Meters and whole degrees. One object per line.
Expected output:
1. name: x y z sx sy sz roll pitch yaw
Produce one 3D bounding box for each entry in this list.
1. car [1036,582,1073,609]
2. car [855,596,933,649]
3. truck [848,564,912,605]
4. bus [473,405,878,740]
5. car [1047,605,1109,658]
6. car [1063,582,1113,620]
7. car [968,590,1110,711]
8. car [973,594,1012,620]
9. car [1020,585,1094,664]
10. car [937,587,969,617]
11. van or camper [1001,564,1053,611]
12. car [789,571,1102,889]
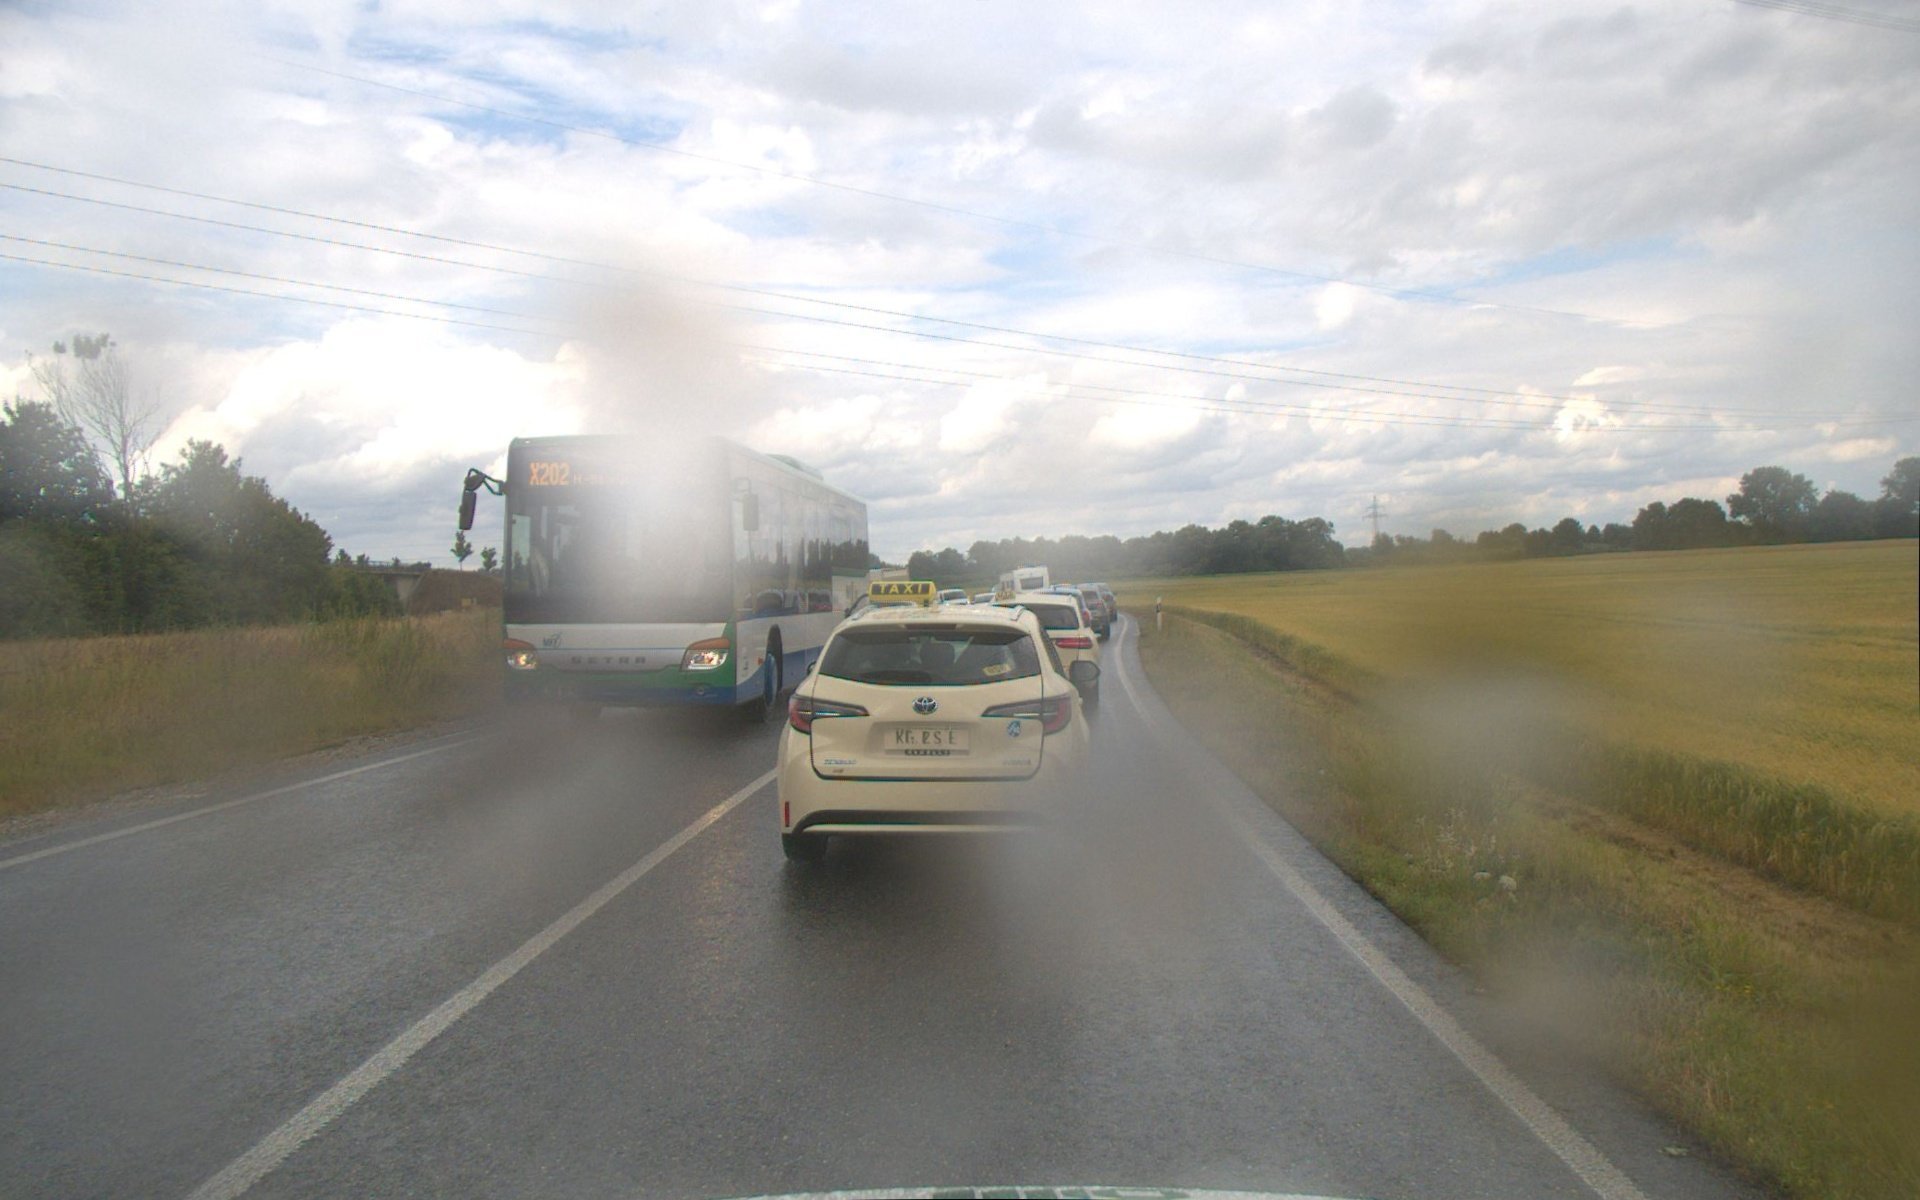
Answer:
1. car: 5.270 -0.259 92.639 1.747 1.438 3.736 0 -1 -2
2. car: -1.628 0.576 42.152 1.683 1.273 4.001 0 -1 2
3. truck: -6.864 -1.233 140.513 2.972 3.266 8.177 1 -1 -22
4. bus: -3.174 -0.302 22.880 2.700 3.355 12.508 0 0 4
5. car: 3.383 0.890 46.974 1.578 1.438 3.741 0 -1 7
6. car: 5.155 0.060 66.372 1.918 1.438 4.394 0 -1 5
7. car: 1.169 0.633 23.389 1.802 1.518 4.610 0 0 4
8. car: 1.800 0.406 92.113 1.808 1.412 4.283 0 0 -4
9. car: 2.208 0.556 37.235 1.579 1.688 3.740 0 -1 4
10. car: -0.494 0.133 106.886 1.808 1.888 4.443 0 0 -3
11. van or camper: 4.283 -0.823 107.516 2.487 2.946 6.735 0 0 -5
12. car: 0.072 0.682 10.217 1.579 1.590 3.740 0 -1 5
